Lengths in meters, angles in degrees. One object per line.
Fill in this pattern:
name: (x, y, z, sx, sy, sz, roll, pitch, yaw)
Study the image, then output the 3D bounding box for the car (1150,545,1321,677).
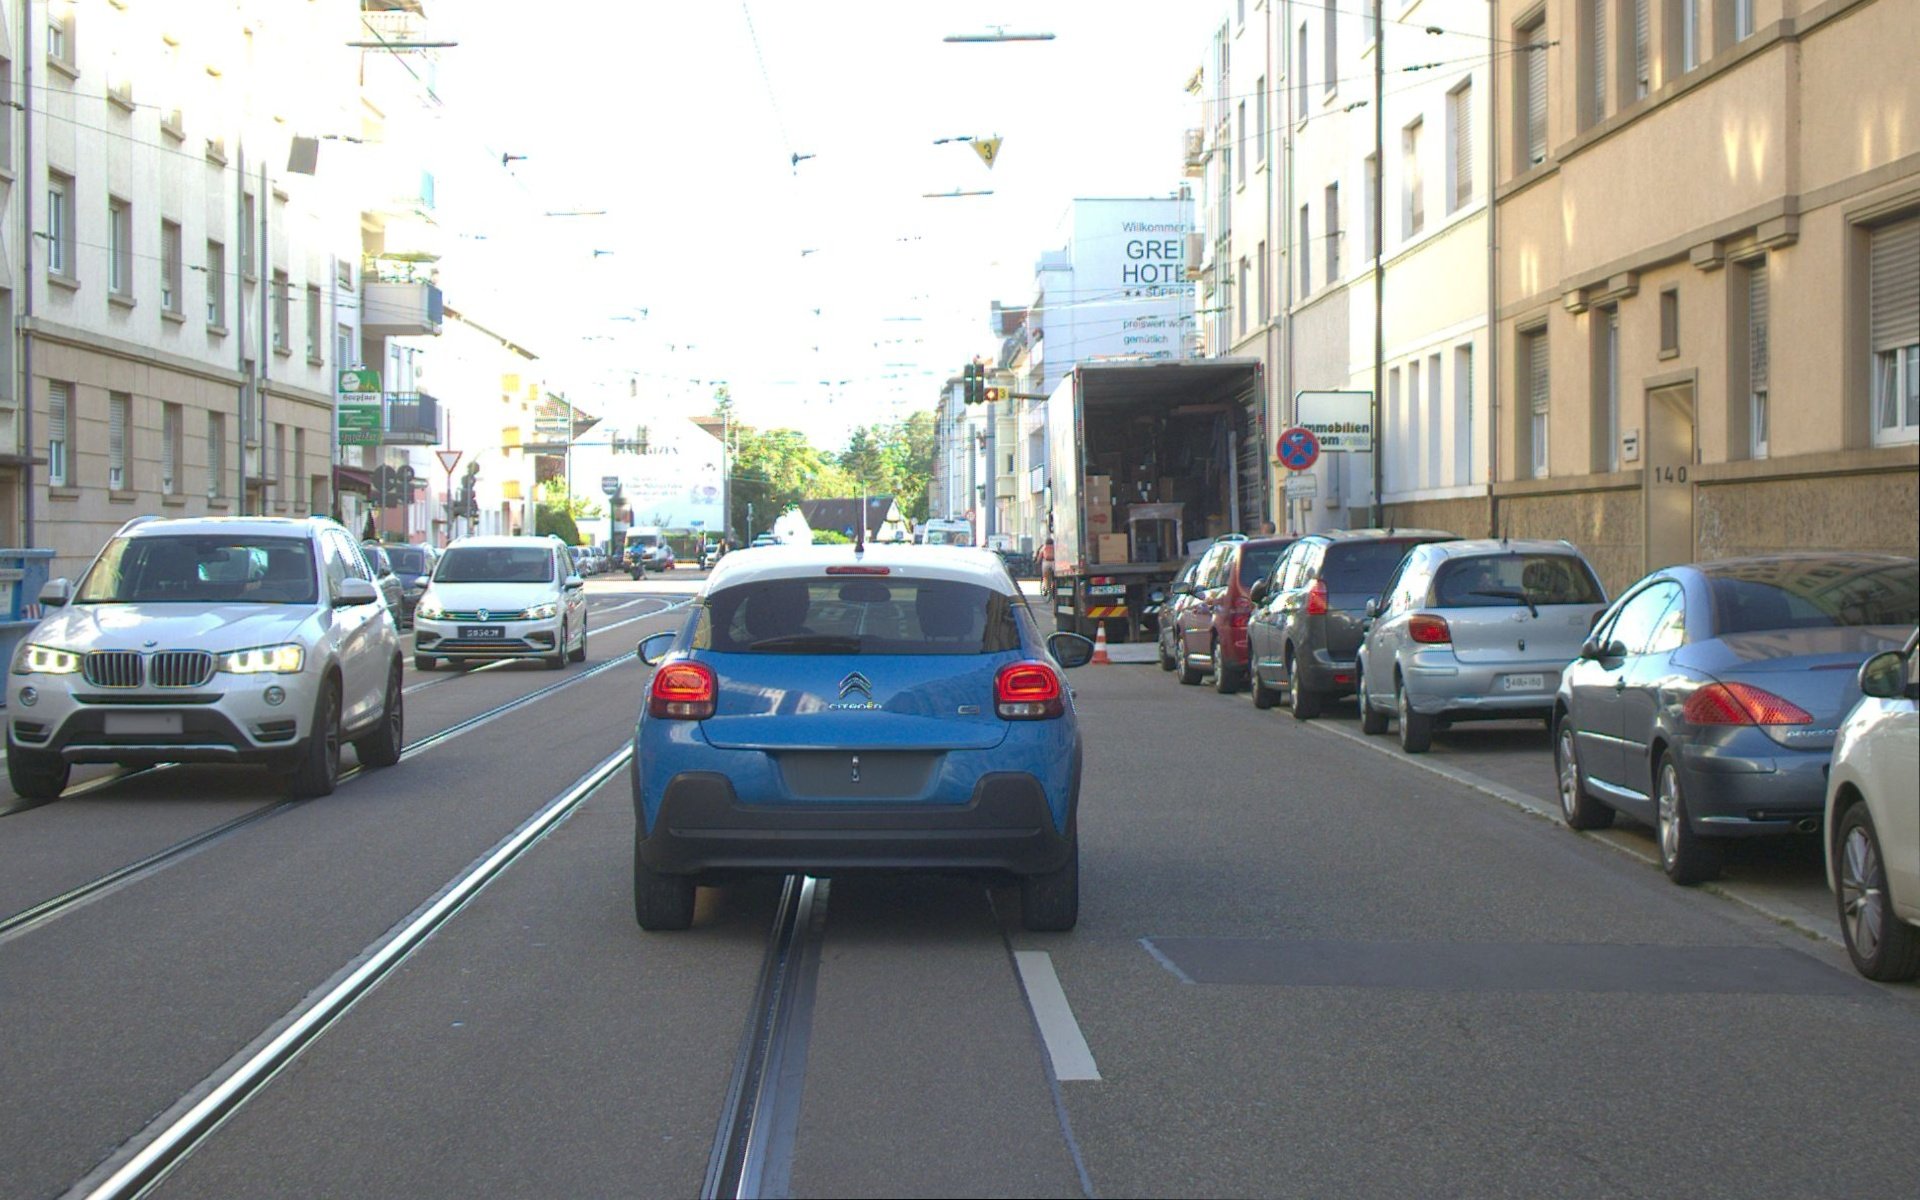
car: (3.268, 0.097, 41.336, 1.664, 1.481, 4.032, 0, 1, -1)

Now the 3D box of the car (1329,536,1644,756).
car: (3.885, 0.278, 25.998, 1.664, 1.514, 4.222, 0, 1, -1)

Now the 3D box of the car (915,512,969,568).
car: (-0.784, -2.529, 144.683, 2.220, 2.276, 4.084, 0, 1, -1)

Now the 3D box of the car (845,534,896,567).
car: (-3.953, -2.203, 152.308, 2.180, 1.481, 4.160, 0, 1, -1)

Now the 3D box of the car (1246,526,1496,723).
car: (3.609, 0.162, 30.838, 1.664, 1.641, 4.222, 0, 1, -1)

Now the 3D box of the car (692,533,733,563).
car: (-12.304, -2.593, 170.976, 1.765, 1.481, 4.032, 0, 1, -1)

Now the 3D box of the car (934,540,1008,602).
car: (0.254, -0.748, 85.677, 1.765, 1.481, 4.032, 0, 1, -1)

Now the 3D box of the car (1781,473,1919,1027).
car: (4.026, 0.500, 10.739, 1.730, 1.821, 4.687, 0, 1, -1)

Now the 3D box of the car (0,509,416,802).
car: (-4.637, 0.268, 21.439, 1.826, 1.626, 4.491, 0, 1, -1)

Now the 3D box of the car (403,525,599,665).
car: (-5.617, -0.098, 42.497, 1.901, 1.626, 4.267, 0, 1, -1)

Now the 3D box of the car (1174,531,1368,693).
car: (3.277, 0.084, 36.855, 1.664, 1.627, 3.871, 0, 1, -1)

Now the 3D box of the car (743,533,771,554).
car: (-14.305, -4.000, 242.392, 1.765, 1.481, 4.032, 0, 1, -1)

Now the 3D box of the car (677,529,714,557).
car: (-14.565, -3.158, 189.528, 1.765, 1.481, 4.032, 0, 1, -1)

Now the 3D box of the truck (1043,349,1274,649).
truck: (2.846, -1.489, 52.528, 2.853, 4.069, 11.271, 0, 1, 0)

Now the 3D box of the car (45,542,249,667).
car: (-10.414, 0.021, 44.312, 1.714, 1.512, 4.048, 0, 1, -1)

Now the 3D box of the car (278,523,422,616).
car: (-11.102, -0.580, 62.849, 1.826, 1.626, 4.849, 0, 1, -1)

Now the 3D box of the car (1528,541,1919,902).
car: (3.956, 0.470, 16.428, 1.722, 1.481, 4.222, 0, 1, -1)

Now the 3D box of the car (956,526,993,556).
car: (0.720, -2.994, 173.707, 1.765, 1.481, 4.032, 0, 1, -1)

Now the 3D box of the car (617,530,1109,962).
car: (-0.385, 0.491, 14.431, 1.735, 1.502, 3.993, 2, 1, -1)

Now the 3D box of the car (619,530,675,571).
car: (-12.560, -2.000, 137.989, 1.901, 1.626, 4.267, 0, 1, -1)
